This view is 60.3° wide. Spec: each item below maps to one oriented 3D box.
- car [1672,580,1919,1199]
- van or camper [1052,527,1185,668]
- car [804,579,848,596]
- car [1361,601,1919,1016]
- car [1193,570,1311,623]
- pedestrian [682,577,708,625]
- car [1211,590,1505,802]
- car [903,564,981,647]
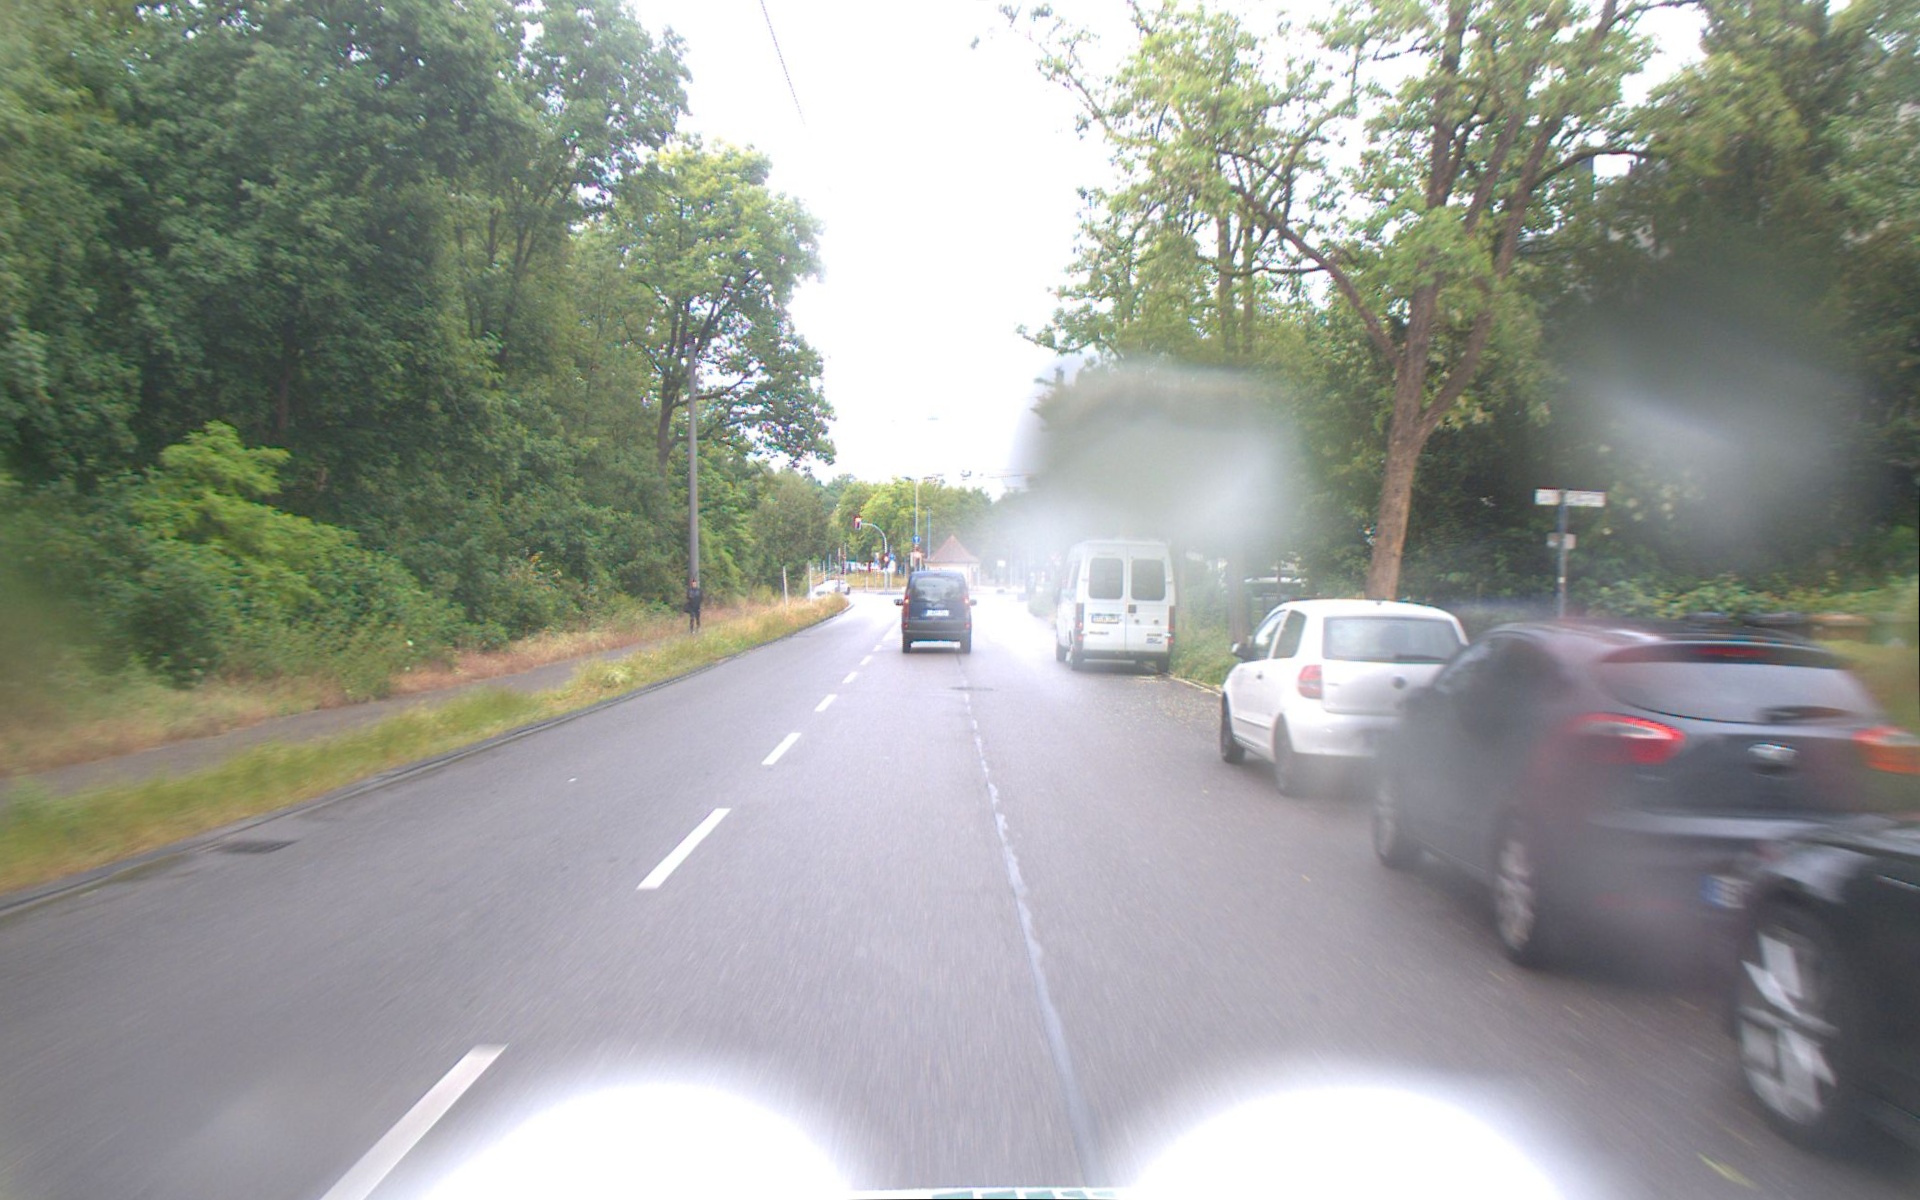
[{"bbox_3d":[3.288,0.764,3.156,1.717,1.553,4.823,2,1,0],"label":"car"},{"bbox_3d":[3.112,-0.080,33.652,1.996,2.522,5.637,3,1,-1],"label":"van or camper"},{"bbox_3d":[-12.390,-1.184,153.323,1.956,1.334,4.352,-1,1,30],"label":"car"},{"bbox_3d":[3.224,0.798,8.267,1.584,1.496,3.945,2,1,2],"label":"car"},{"bbox_3d":[10.799,-0.145,61.268,4.212,1.849,1.876,1,1,10],"label":"car"},{"bbox_3d":[-9.109,0.044,56.871,0.765,1.636,0.732,0,0,-2],"label":"pedestrian"},{"bbox_3d":[3.233,0.699,14.120,1.539,1.498,3.765,2,1,0],"label":"car"},{"bbox_3d":[-0.425,0.085,38.947,1.696,1.817,4.000,1,1,-1],"label":"car"}]
